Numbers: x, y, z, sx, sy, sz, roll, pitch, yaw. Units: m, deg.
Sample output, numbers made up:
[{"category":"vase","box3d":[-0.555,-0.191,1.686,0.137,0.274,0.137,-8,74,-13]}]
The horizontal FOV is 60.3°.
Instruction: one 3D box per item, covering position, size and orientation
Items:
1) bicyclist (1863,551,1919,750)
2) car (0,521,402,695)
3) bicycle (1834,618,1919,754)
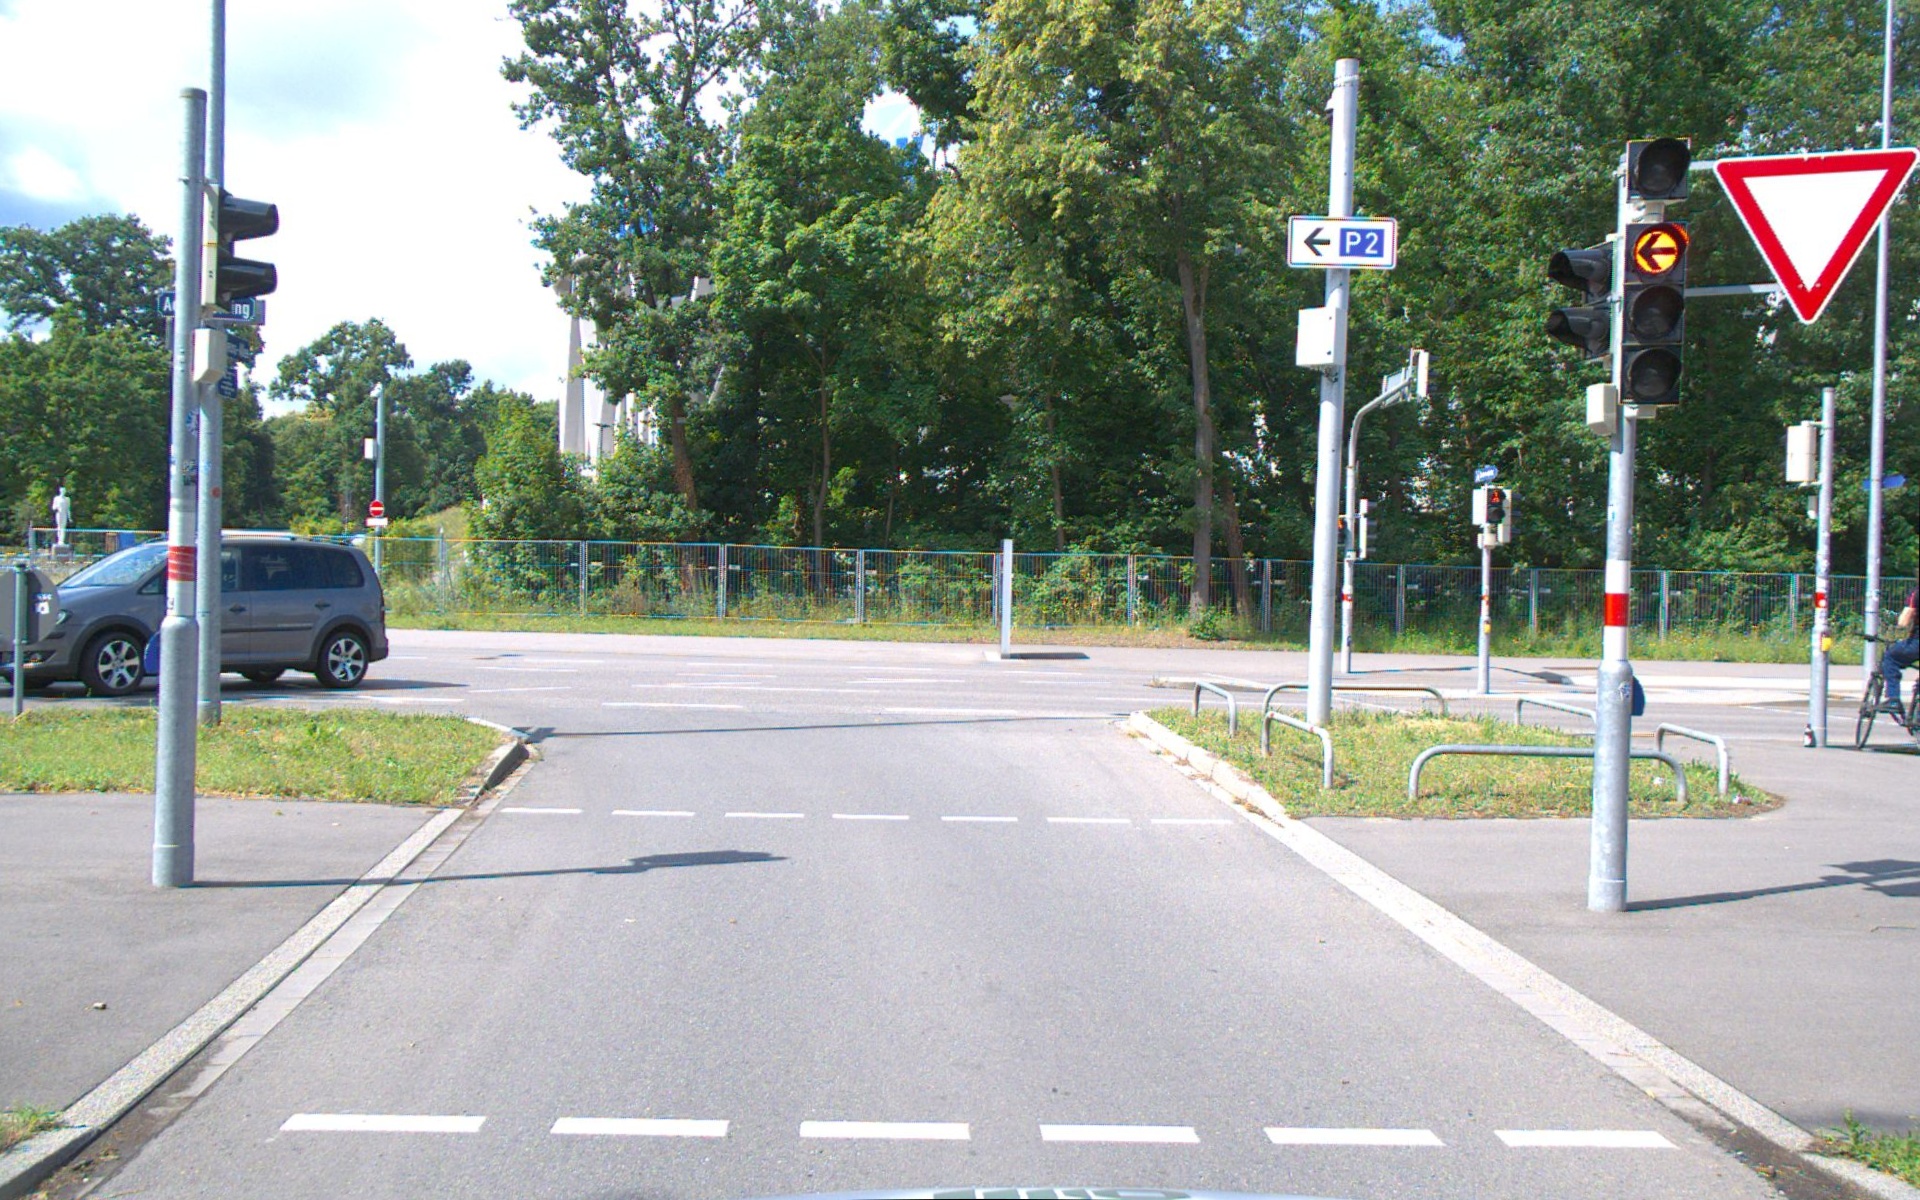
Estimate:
[{"category":"bicyclist","box3d":[9.211,0.473,15.639,0.866,1.829,0.979,1,-1,7]},{"category":"car","box3d":[-8.422,0.043,17.991,1.731,1.658,4.285,1,1,35]},{"category":"bicycle","box3d":[9.236,0.796,15.910,0.861,1.227,1.899,1,0,8]}]
